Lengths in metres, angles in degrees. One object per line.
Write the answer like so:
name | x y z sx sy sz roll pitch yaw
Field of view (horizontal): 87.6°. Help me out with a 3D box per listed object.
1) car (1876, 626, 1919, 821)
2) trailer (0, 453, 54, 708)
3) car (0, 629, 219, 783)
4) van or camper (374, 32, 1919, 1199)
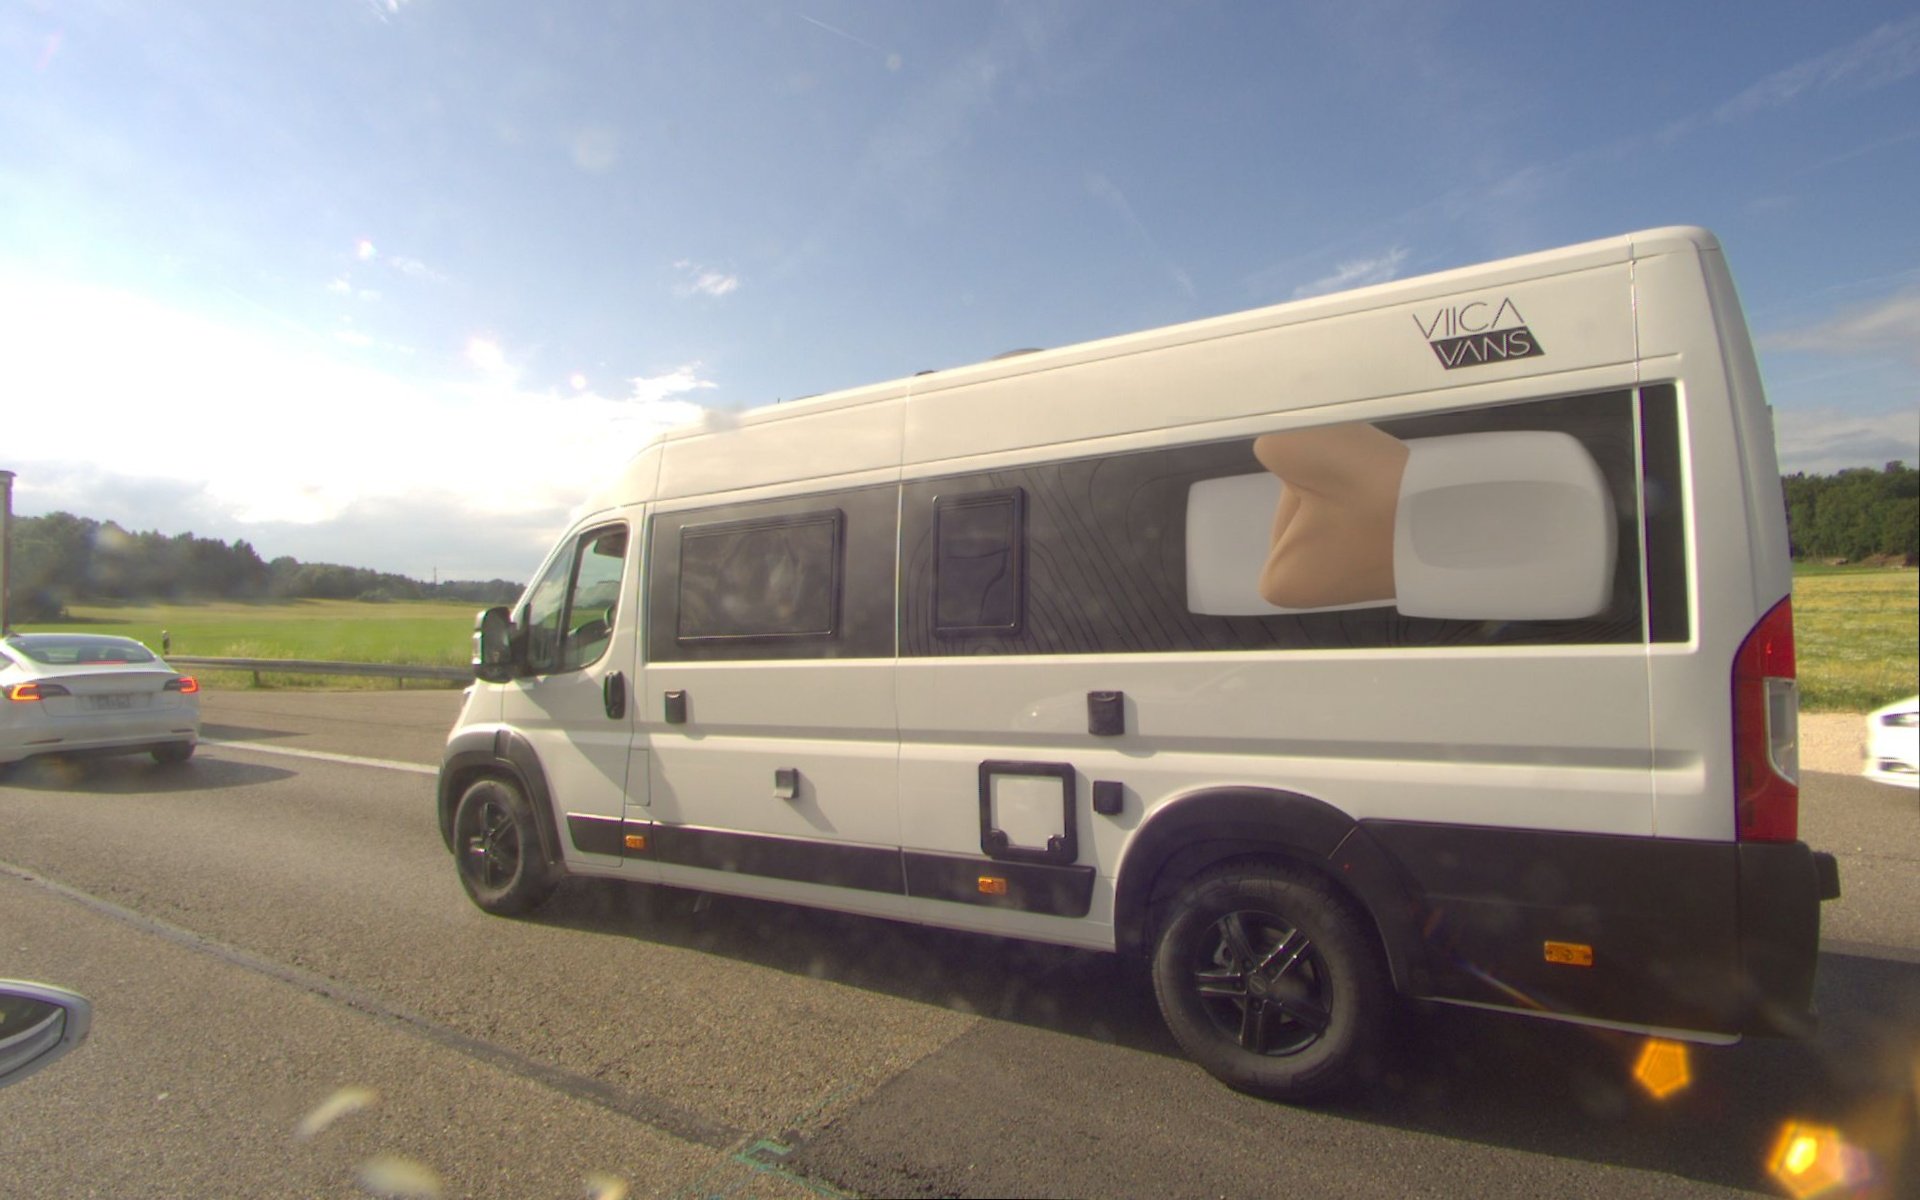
car | 9.131 0.886 6.416 1.851 1.450 4.594 1 -2 -38
trailer | -21.267 -0.122 18.742 13.181 4.061 3.125 -2 -2 33
car | -10.320 1.034 11.141 4.371 1.412 1.786 -1 -1 30
van or camper | 0.008 0.188 4.786 6.241 2.716 2.211 -1 -1 32
